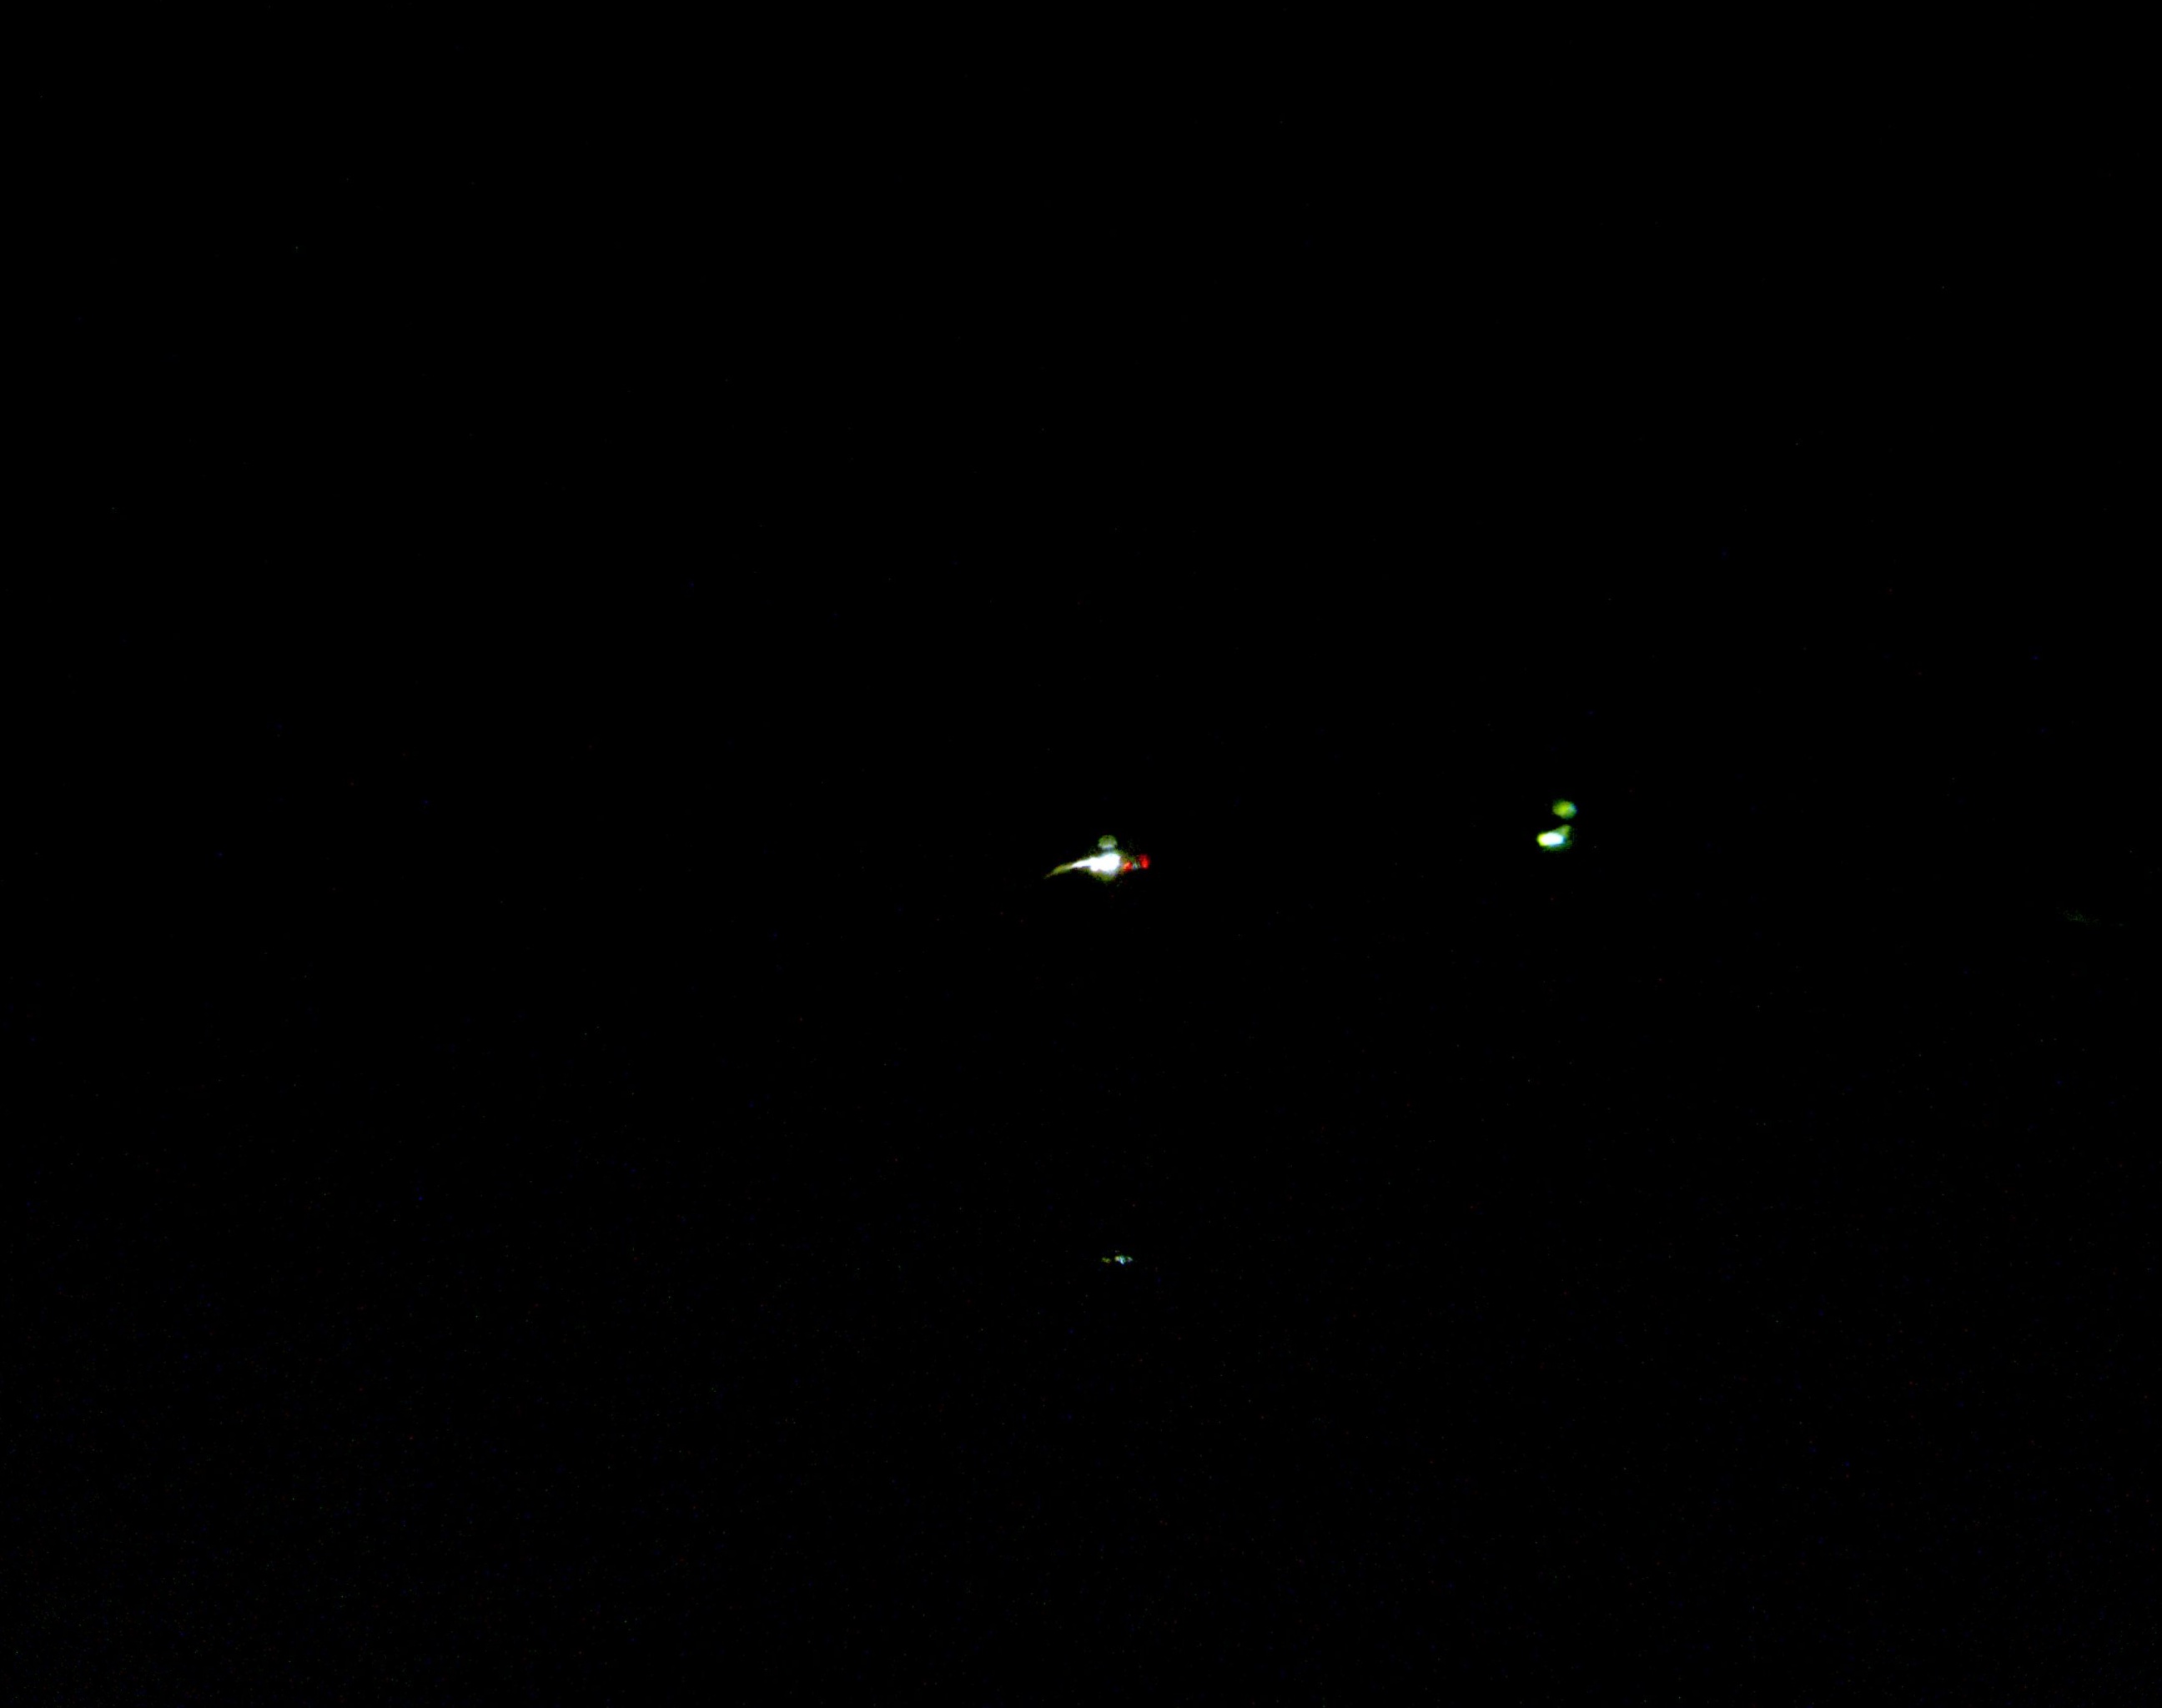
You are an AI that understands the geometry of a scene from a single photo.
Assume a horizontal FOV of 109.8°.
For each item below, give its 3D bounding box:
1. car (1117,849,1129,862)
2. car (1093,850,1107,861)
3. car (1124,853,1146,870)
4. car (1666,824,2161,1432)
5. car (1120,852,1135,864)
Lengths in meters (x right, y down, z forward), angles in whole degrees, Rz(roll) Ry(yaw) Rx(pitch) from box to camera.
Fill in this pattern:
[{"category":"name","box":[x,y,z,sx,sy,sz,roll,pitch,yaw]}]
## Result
[{"category":"car","box":[6.320,0.213,114.027,1.836,1.860,4.430,-2,0,4]},{"category":"car","box":[3.050,0.235,120.194,1.746,1.623,3.738,-1,0,8]},{"category":"car","box":[4.617,0.638,65.380,1.645,1.351,3.680,-2,0,0]},{"category":"car","box":[3.778,0.704,1.755,1.873,1.603,3.846,-2,0,0]},{"category":"car","box":[5.879,0.446,95.678,1.669,1.447,3.426,-2,0,0]}]
